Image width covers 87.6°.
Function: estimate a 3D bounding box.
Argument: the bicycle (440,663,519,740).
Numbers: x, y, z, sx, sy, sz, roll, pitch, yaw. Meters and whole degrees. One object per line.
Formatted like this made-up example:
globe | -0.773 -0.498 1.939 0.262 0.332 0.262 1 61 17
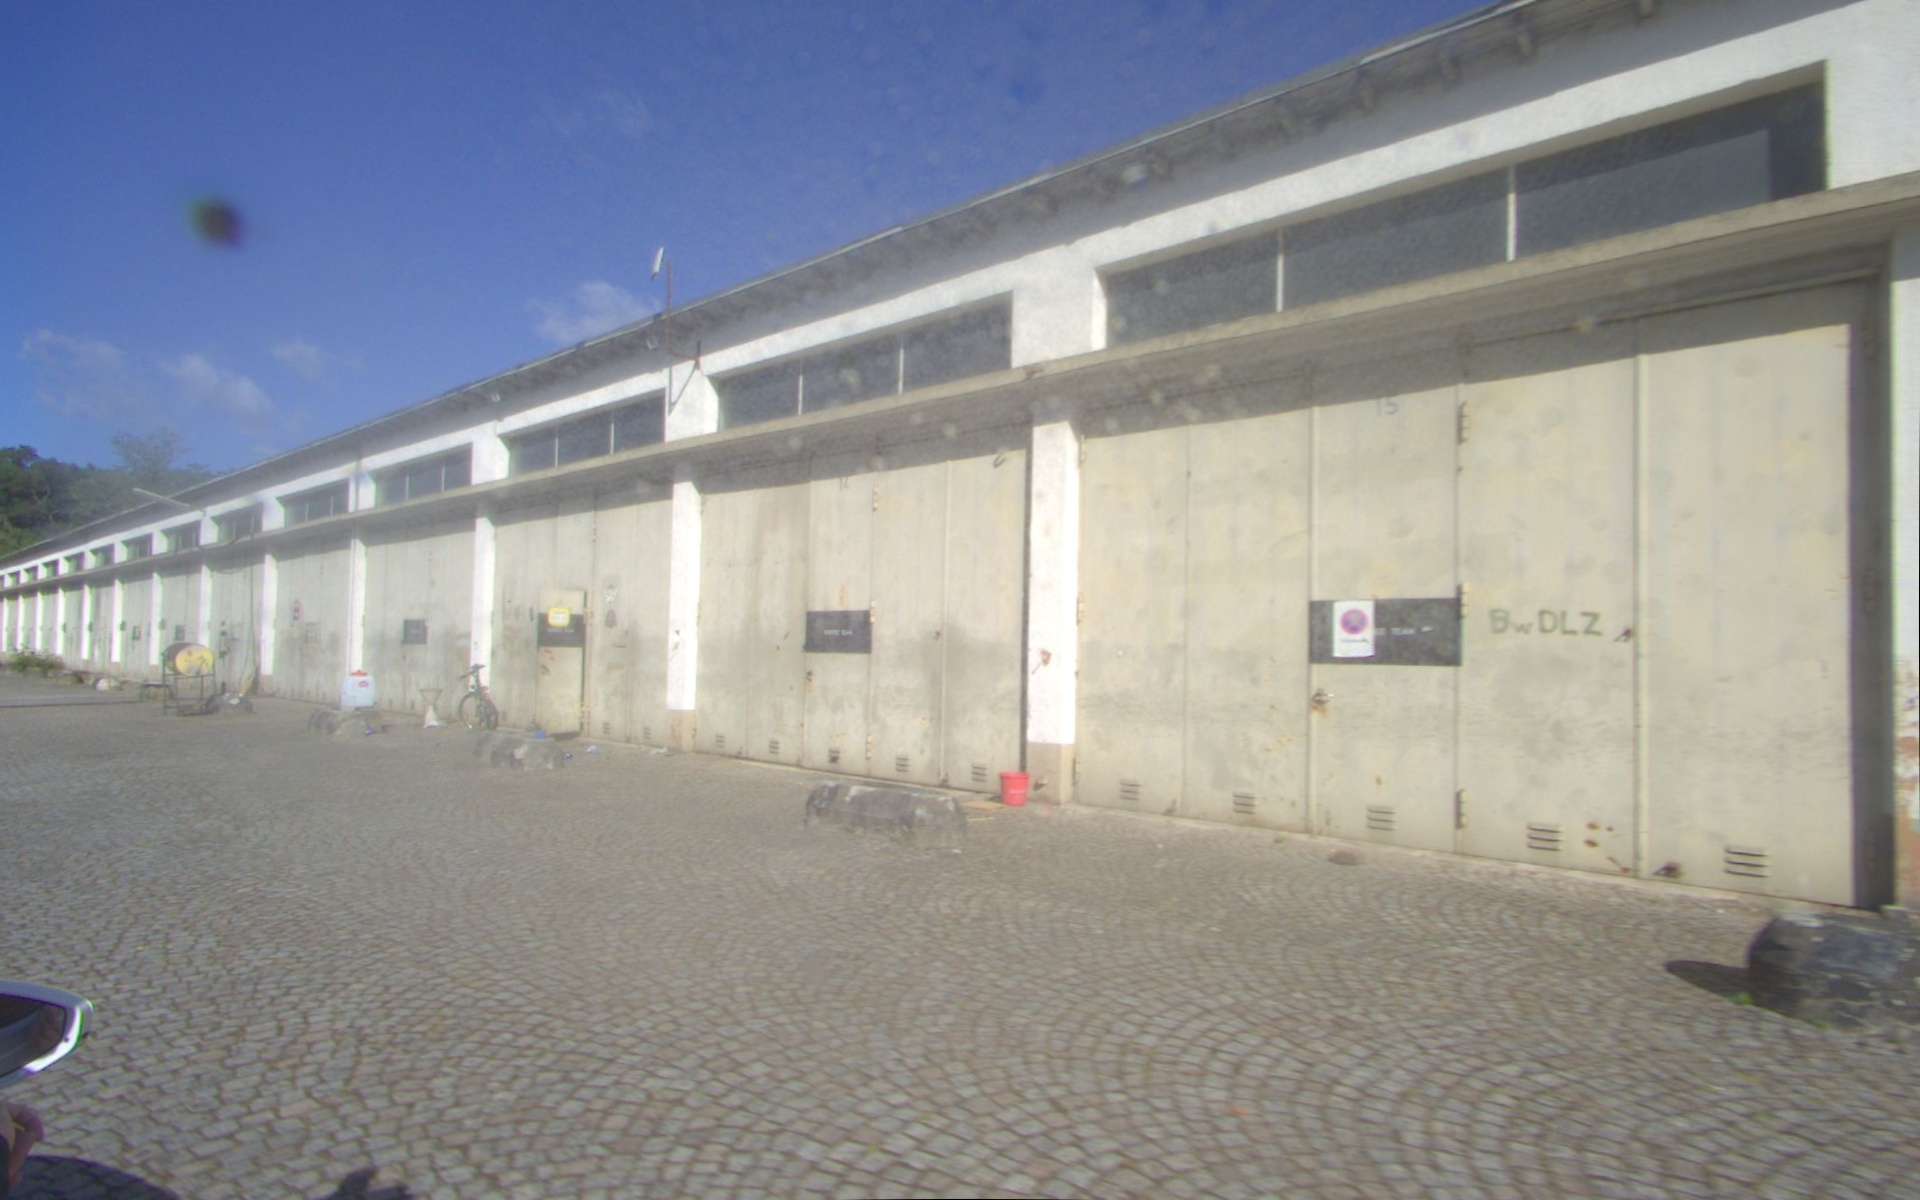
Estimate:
bicycle | -7.208 1.492 14.981 0.659 1.080 1.811 5 -5 -37
